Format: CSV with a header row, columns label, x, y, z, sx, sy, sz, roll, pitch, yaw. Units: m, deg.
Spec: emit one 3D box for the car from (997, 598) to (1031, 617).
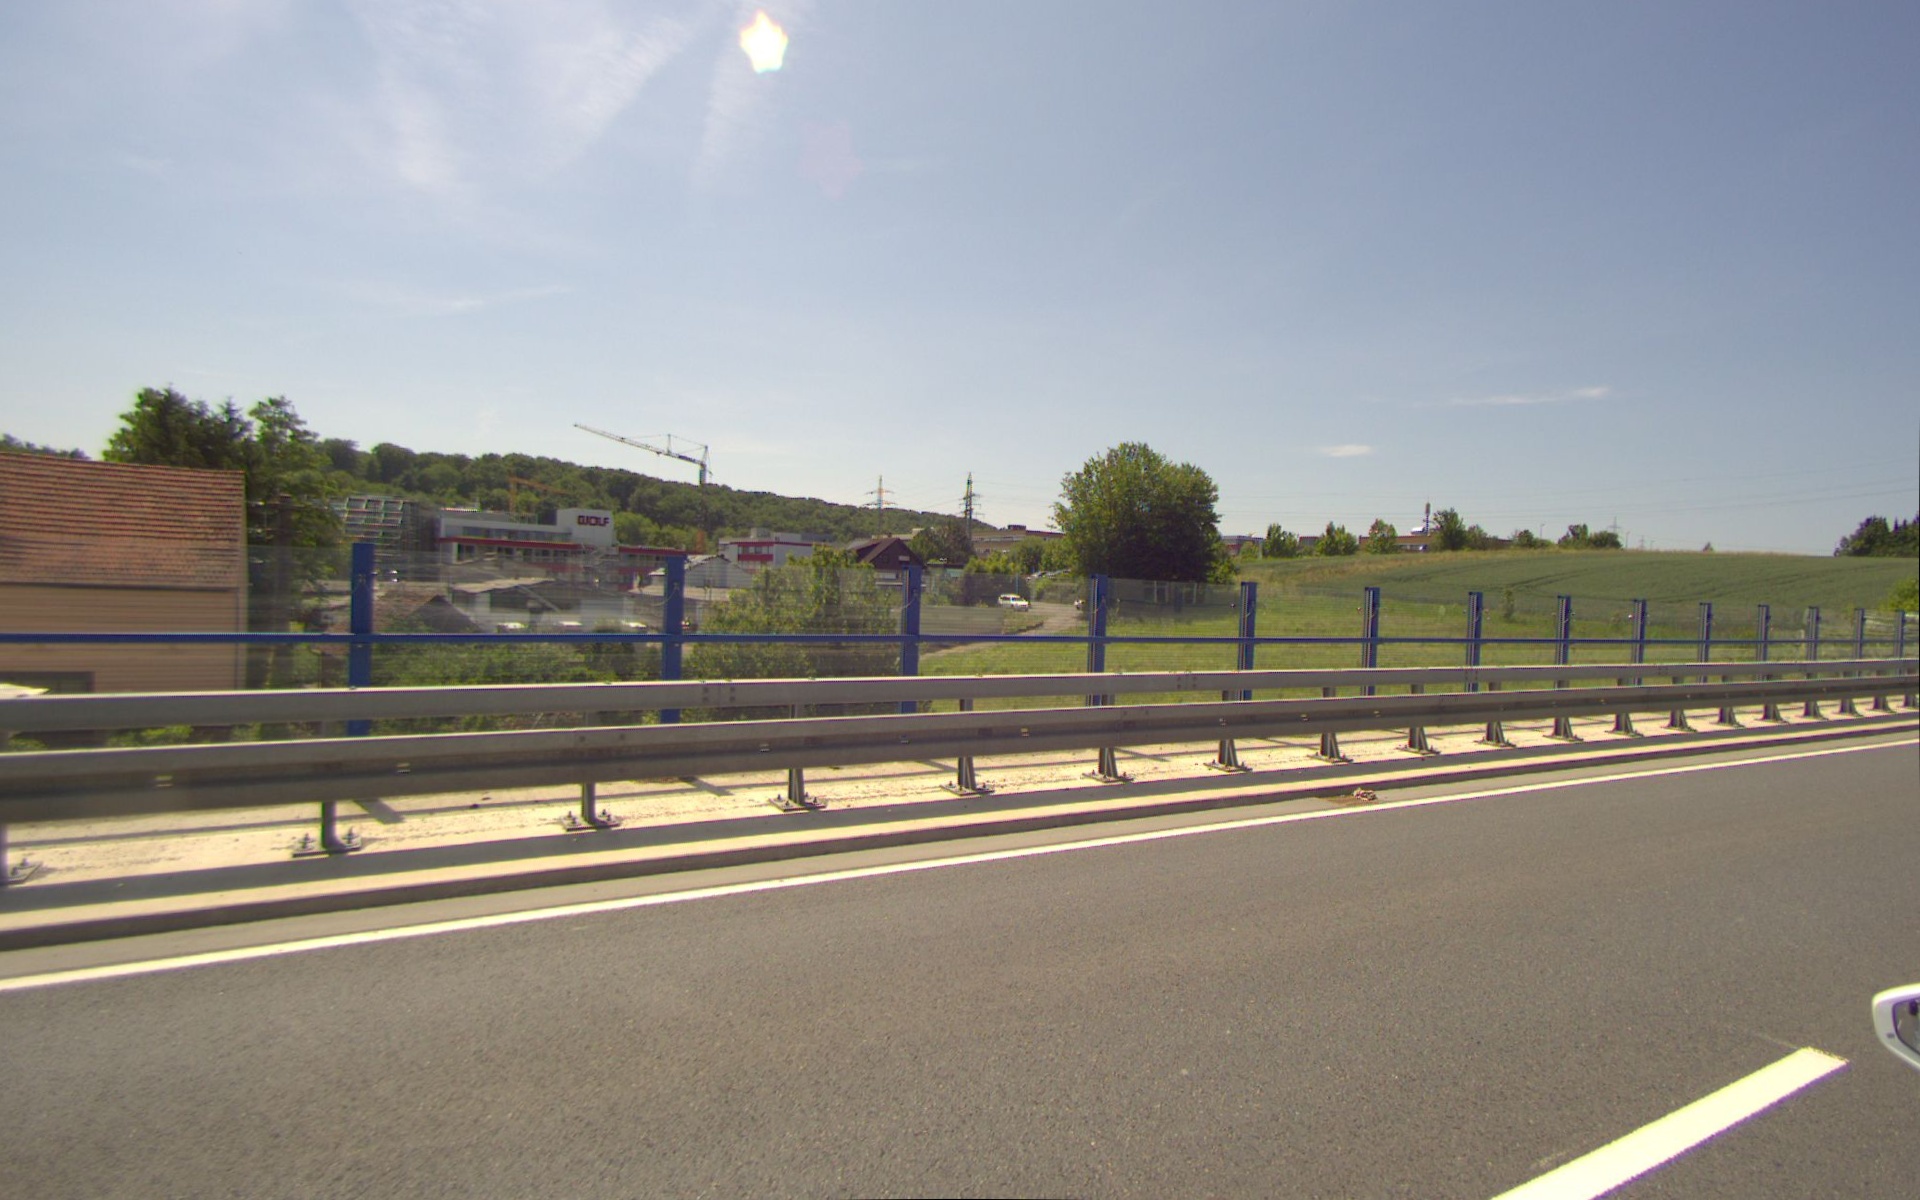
label,x,y,z,sx,sy,sz,roll,pitch,yaw
car,5.535,0.754,102.940,1.808,1.625,3.973,-2,4,-25
